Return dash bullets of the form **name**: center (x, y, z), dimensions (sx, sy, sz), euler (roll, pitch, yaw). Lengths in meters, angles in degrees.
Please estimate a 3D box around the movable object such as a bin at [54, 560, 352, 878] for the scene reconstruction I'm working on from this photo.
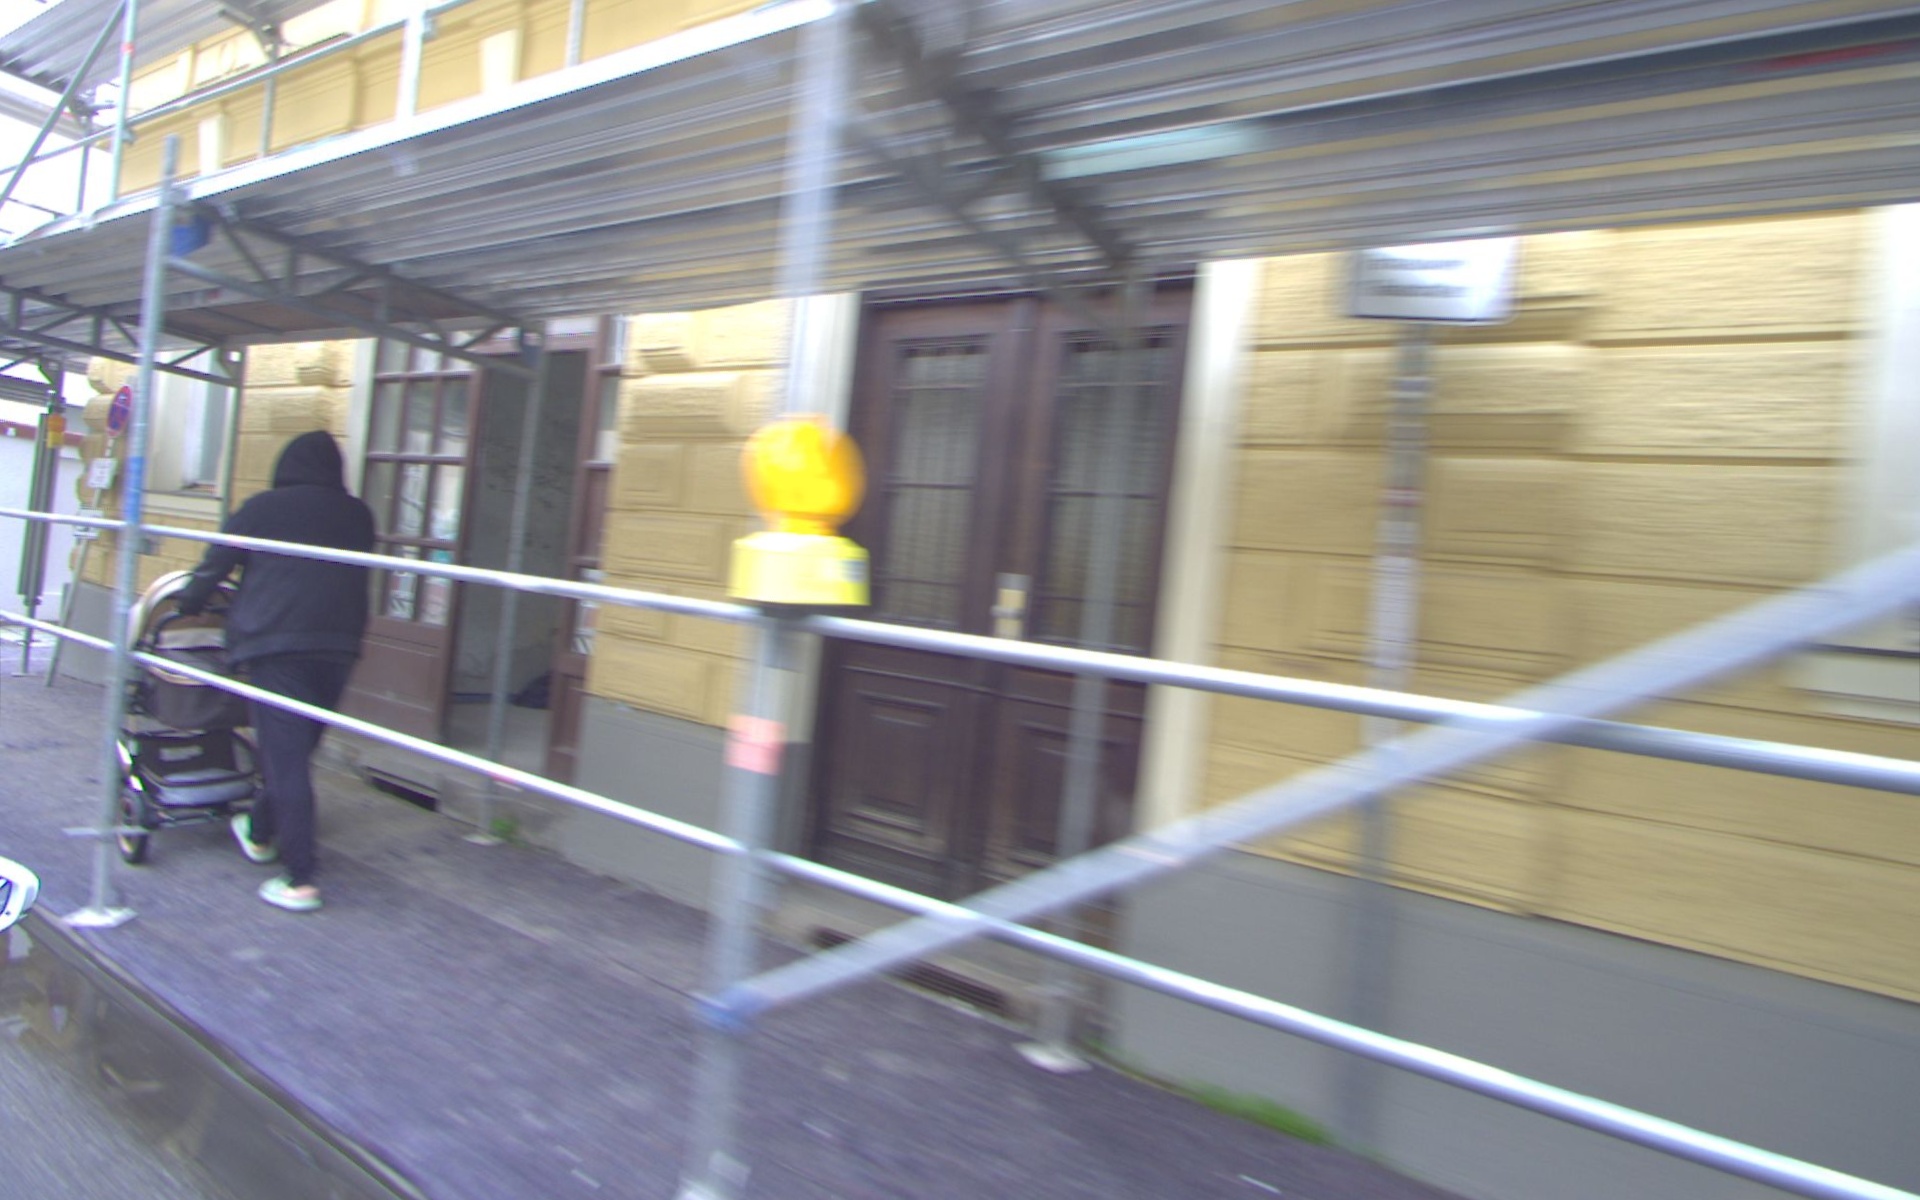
- **movable object such as a bin**: center (-3.313, 0.449, 4.406), dimensions (0.972, 1.157, 0.729), euler (7, 5, 31)

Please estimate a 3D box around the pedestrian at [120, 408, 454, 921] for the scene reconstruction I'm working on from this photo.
- **pedestrian**: center (-2.689, 0.191, 4.019), dimensions (0.972, 1.777, 0.729), euler (7, 4, 32)
